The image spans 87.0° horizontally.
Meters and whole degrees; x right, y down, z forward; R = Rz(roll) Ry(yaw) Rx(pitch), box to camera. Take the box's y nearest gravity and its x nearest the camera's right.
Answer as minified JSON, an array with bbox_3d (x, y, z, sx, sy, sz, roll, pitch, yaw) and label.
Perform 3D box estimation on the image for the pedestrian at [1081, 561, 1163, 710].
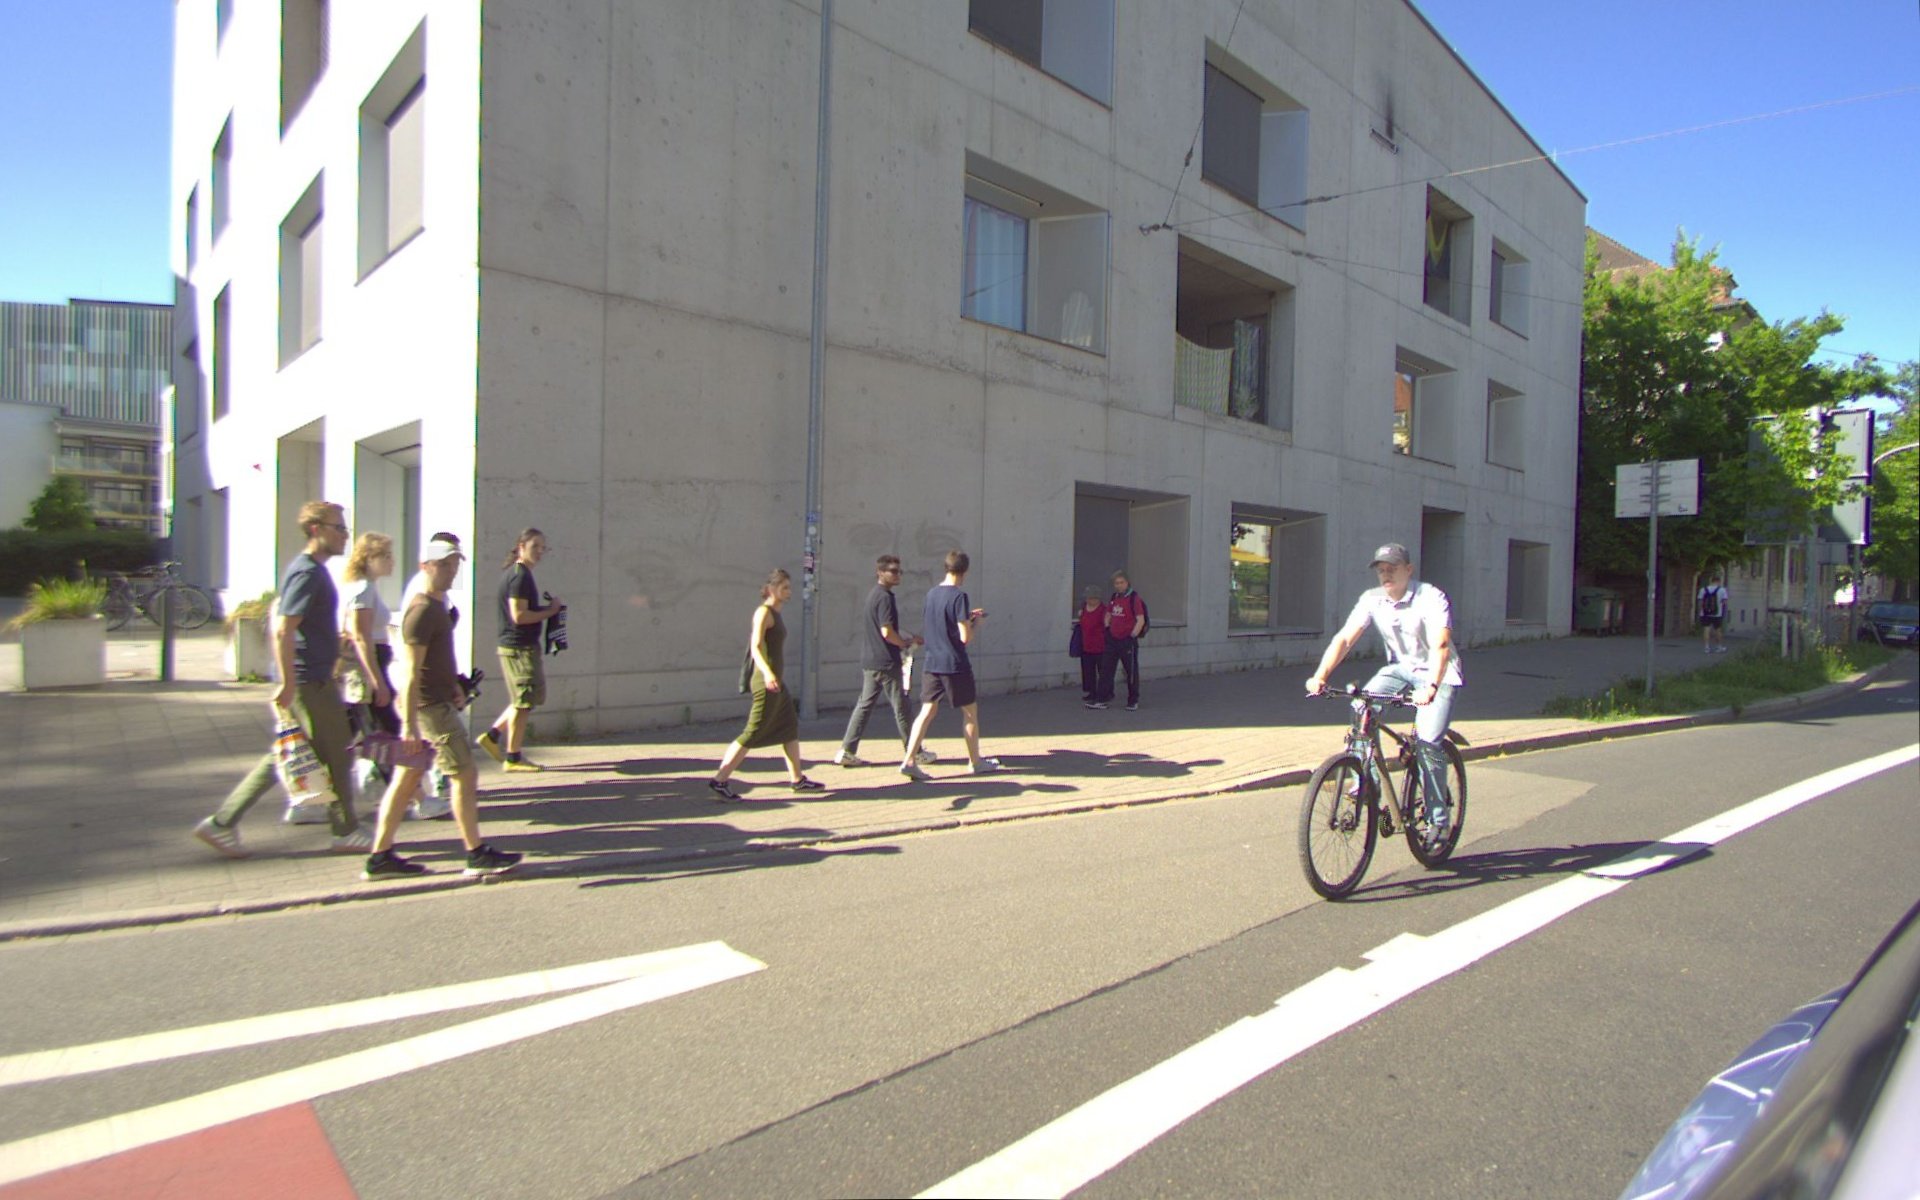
[{"bbox_3d":[1.846,0.380,11.513,0.751,1.620,0.519,0,2,-41],"label":"pedestrian"}]

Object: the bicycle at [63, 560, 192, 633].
[{"bbox_3d":[-13.148,-0.067,16.017,1.558,1.108,0.498,0,2,-40],"label":"bicycle"}]

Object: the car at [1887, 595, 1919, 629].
[{"bbox_3d":[42.708,0.538,45.010,4.281,1.399,1.727,0,3,-42],"label":"car"}]

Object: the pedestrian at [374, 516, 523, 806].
[{"bbox_3d":[-3.359,0.369,6.681,0.640,1.795,0.613,4,4,-3],"label":"pedestrian"}]

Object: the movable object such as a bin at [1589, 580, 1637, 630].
[{"bbox_3d":[19.918,0.144,30.872,1.310,1.481,0.934,0,1,-45],"label":"movable object such as a bin"}]

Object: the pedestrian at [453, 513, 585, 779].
[{"bbox_3d":[-3.258,0.304,7.457,0.718,1.823,0.660,1,4,-36],"label":"pedestrian"}]

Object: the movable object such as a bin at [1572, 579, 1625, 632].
[{"bbox_3d":[18.624,0.150,29.517,1.332,1.481,0.935,0,1,-42],"label":"movable object such as a bin"}]

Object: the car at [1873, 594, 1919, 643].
[{"bbox_3d":[31.221,0.588,33.164,1.822,1.476,4.744,5,3,42],"label":"car"}]

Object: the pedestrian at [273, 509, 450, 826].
[{"bbox_3d":[-3.585,0.377,6.093,0.721,1.795,0.530,4,4,-3],"label":"pedestrian"}]

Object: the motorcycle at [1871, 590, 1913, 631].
[{"bbox_3d":[36.629,0.379,39.778,2.634,1.506,0.915,0,4,-43],"label":"motorcycle"}]

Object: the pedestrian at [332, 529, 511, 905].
[{"bbox_3d":[-2.784,0.546,5.218,0.704,1.767,0.609,1,4,-36],"label":"pedestrian"}]

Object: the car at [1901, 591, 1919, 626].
[{"bbox_3d":[48.304,0.433,50.345,4.506,1.645,1.813,0,4,-43],"label":"car"}]

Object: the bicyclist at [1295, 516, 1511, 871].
[{"bbox_3d":[2.395,0.444,5.464,0.955,1.707,0.739,0,0,-42],"label":"bicyclist"}]

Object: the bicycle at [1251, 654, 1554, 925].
[{"bbox_3d":[2.490,0.909,5.549,2.075,1.108,0.739,0,0,-42],"label":"bicycle"}]

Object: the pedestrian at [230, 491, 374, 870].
[{"bbox_3d":[-3.570,0.397,5.489,0.600,1.924,0.520,1,4,-36],"label":"pedestrian"}]

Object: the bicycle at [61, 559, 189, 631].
[{"bbox_3d":[-13.492,-0.094,16.390,1.564,1.108,0.498,-1,2,-40],"label":"bicycle"}]

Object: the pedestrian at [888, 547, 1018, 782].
[{"bbox_3d":[-0.058,0.484,8.092,0.802,1.748,0.496,0,6,-41],"label":"pedestrian"}]

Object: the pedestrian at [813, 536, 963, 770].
[{"bbox_3d":[-0.599,0.404,8.382,0.939,1.783,0.649,0,6,-41],"label":"pedestrian"}]

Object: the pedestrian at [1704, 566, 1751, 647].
[{"bbox_3d":[18.369,0.152,24.215,0.940,1.872,0.684,0,3,-45],"label":"pedestrian"}]

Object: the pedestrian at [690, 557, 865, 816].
[{"bbox_3d":[-1.294,0.553,7.109,0.876,1.623,0.833,1,5,-33],"label":"pedestrian"}]

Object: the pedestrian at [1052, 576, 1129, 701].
[{"bbox_3d":[1.555,0.440,12.042,0.751,1.421,0.519,0,2,-41],"label":"pedestrian"}]
